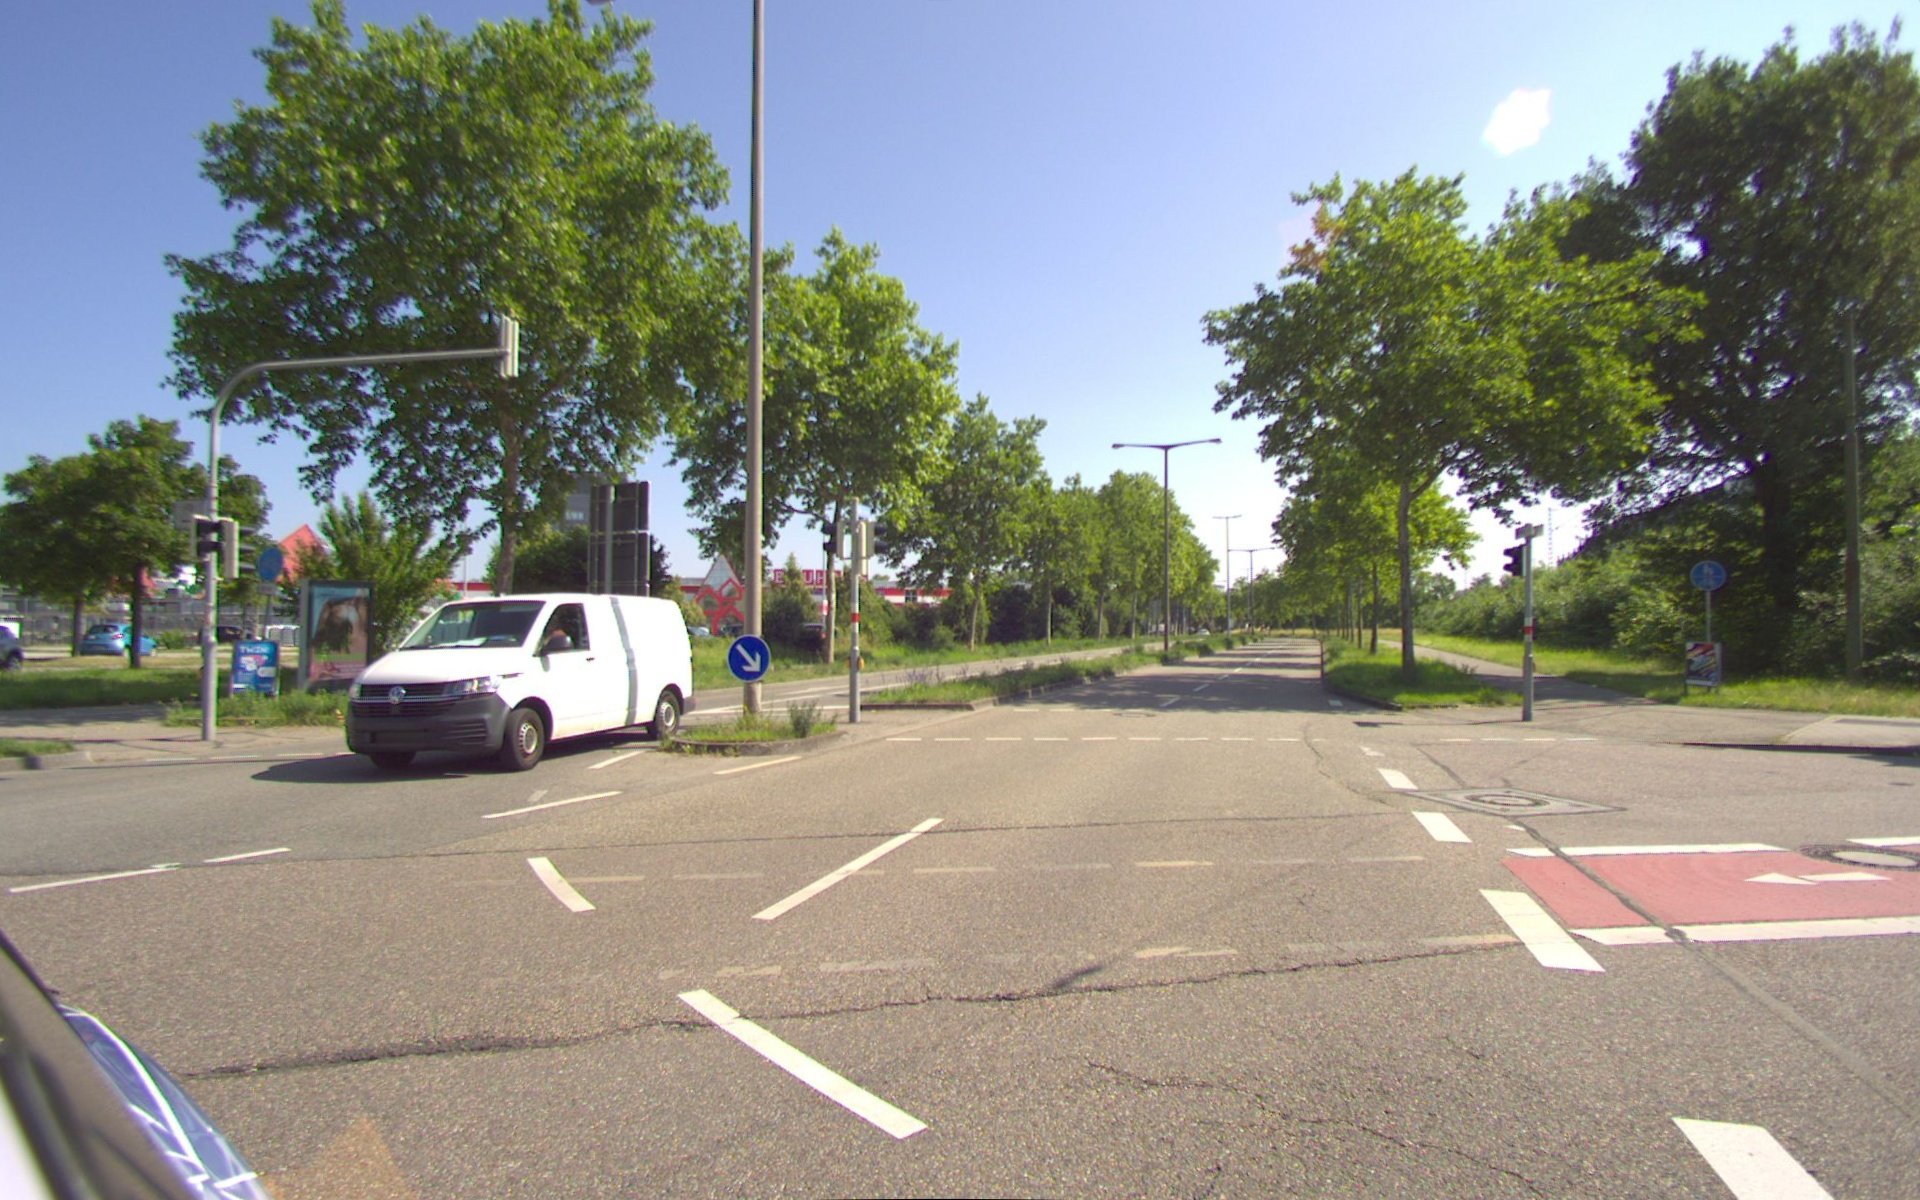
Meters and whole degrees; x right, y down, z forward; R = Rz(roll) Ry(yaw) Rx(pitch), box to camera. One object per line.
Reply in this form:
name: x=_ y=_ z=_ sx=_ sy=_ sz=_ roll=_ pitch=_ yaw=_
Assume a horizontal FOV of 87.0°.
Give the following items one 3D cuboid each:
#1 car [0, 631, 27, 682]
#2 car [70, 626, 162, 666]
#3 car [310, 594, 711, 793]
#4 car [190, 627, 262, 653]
car: x=-27.462 y=1.568 z=27.131 sx=1.874 sy=1.431 sz=4.010 roll=-2 pitch=-2 yaw=-13
car: x=-35.240 y=1.922 z=42.367 sx=1.518 sy=1.544 sz=3.495 roll=-2 pitch=-2 yaw=-13
car: x=-5.060 y=0.981 z=12.344 sx=1.856 sy=1.915 sz=4.857 roll=-1 pitch=-2 yaw=15
car: x=-53.238 y=2.914 z=73.447 sx=3.864 sy=1.735 sz=1.793 roll=-2 pitch=-2 yaw=-14
